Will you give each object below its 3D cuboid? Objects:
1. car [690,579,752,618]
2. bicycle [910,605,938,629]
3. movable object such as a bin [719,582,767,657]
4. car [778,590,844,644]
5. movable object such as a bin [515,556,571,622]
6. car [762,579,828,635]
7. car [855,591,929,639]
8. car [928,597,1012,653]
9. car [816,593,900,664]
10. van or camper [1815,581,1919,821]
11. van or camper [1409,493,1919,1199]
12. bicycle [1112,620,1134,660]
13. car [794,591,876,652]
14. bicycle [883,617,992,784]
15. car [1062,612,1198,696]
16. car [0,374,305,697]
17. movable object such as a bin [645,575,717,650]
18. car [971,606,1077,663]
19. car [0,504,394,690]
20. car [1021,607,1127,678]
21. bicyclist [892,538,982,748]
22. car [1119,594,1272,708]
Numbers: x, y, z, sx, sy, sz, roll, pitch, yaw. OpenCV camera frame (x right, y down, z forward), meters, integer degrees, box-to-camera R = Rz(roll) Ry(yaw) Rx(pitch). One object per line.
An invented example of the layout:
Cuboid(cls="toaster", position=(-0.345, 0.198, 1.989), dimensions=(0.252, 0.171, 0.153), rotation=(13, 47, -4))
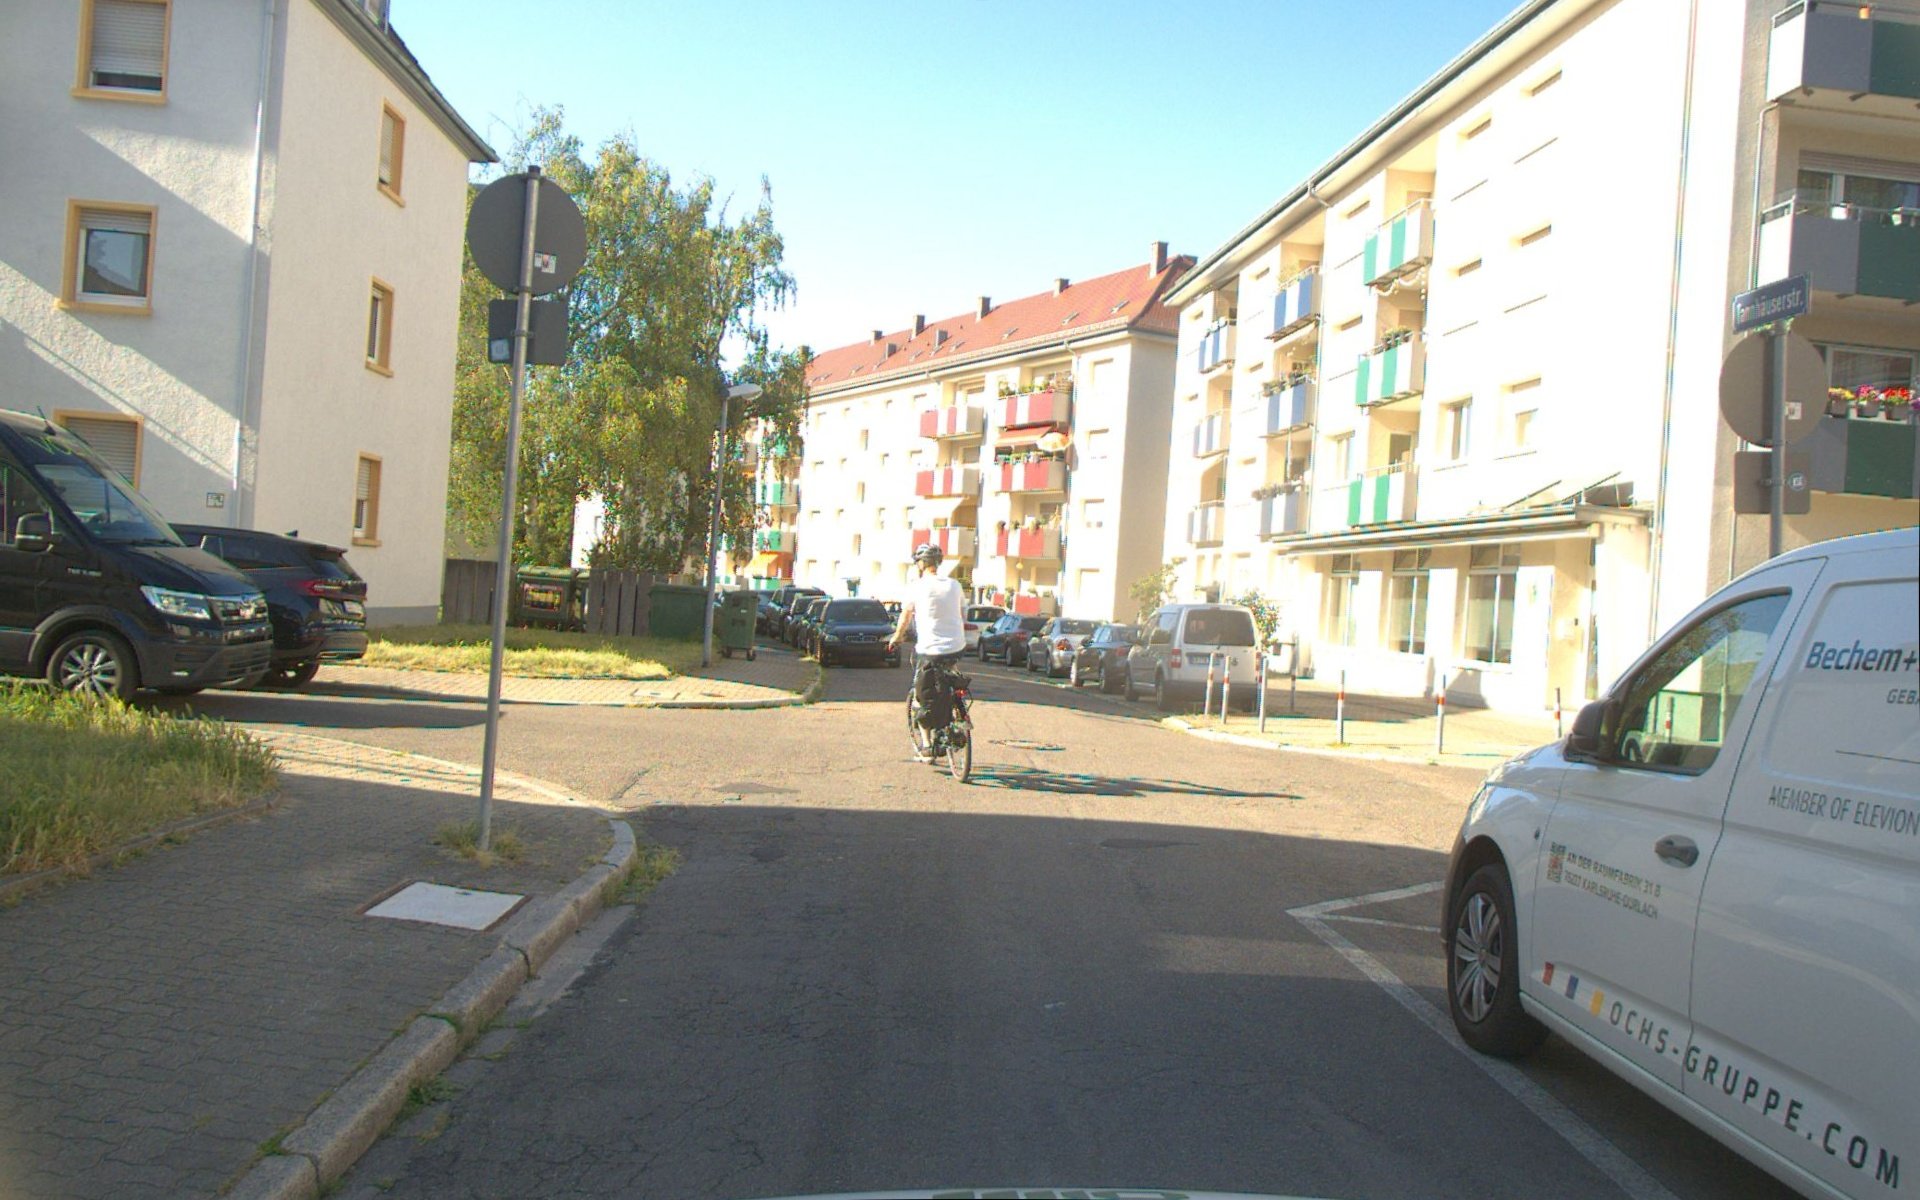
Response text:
Cuboid(cls="car", position=(-9.905, -0.086, 68.378), dimensions=(1.669, 1.413, 4.133), rotation=(4, 0, -20))
Cuboid(cls="bicycle", position=(-1.642, 0.771, 75.330), dimensions=(0.609, 0.995, 1.883), rotation=(1, 3, -23))
Cuboid(cls="movable object such as a bin", position=(-4.327, 0.383, 33.072), dimensions=(0.760, 1.417, 1.416), rotation=(4, 0, -4))
Cuboid(cls="car", position=(-4.326, 0.451, 47.721), dimensions=(1.527, 1.468, 3.958), rotation=(1, 0, -10))
Cuboid(cls="movable object such as a bin", position=(-9.665, -0.257, 38.370), dimensions=(1.040, 1.460, 1.002), rotation=(2, 0, -5))
Cuboid(cls="car", position=(-5.407, 0.202, 53.808), dimensions=(1.529, 1.744, 4.322), rotation=(1, 0, -14))
Cuboid(cls="car", position=(-2.760, 0.562, 66.013), dimensions=(1.740, 1.664, 4.017), rotation=(2, 2, -21))
Cuboid(cls="car", position=(0.281, 0.811, 53.889), dimensions=(1.665, 1.685, 4.373), rotation=(3, -1, -14))
Cuboid(cls="car", position=(-2.380, 0.592, 37.617), dimensions=(1.646, 1.478, 4.614), rotation=(1, 0, -7))
Cuboid(cls="van or camper", position=(10.857, 1.056, 15.045), dimensions=(5.021, 2.048, 2.000), rotation=(4, 2, -2))
Cuboid(cls="van or camper", position=(2.777, 0.722, 4.238), dimensions=(1.756, 1.778, 4.733), rotation=(4, 0, -2))
Cuboid(cls="bicycle", position=(5.191, 1.268, 52.743), dimensions=(0.504, 1.224, 1.761), rotation=(2, 0, 0))
Cuboid(cls="car", position=(-3.270, 0.514, 42.661), dimensions=(1.647, 1.468, 4.269), rotation=(1, 0, -10))
Cuboid(cls="bicycle", position=(-0.212, 0.769, 13.355), dimensions=(0.615, 1.134, 1.814), rotation=(4, 1, -7))
Cuboid(cls="car", position=(3.510, 1.087, 34.994), dimensions=(1.647, 1.431, 4.536), rotation=(4, 0, -9))
Cuboid(cls="car", position=(-9.195, -0.656, 14.678), dimensions=(5.823, 2.589, 1.999), rotation=(3, 0, -3))
Cuboid(cls="movable object such as a bin", position=(-5.612, 0.252, 33.296), dimensions=(1.195, 1.404, 0.767), rotation=(5, 0, 1))
Cuboid(cls="car", position=(1.760, 0.949, 47.063), dimensions=(1.666, 1.456, 4.669), rotation=(2, 0, -15))
Cuboid(cls="car", position=(-8.568, -0.040, 17.612), dimensions=(4.398, 1.693, 1.718), rotation=(3, -2, -2))
Cuboid(cls="car", position=(2.770, 1.016, 41.293), dimensions=(1.647, 1.472, 4.716), rotation=(4, 0, -8))
Cuboid(cls="bicyclist", position=(-0.196, 0.321, 13.273), dimensions=(0.585, 1.606, 0.906), rotation=(2, 2, -7))
Cuboid(cls="car", position=(4.114, 0.844, 29.548), dimensions=(1.713, 1.856, 4.126), rotation=(1, 0, -6))
